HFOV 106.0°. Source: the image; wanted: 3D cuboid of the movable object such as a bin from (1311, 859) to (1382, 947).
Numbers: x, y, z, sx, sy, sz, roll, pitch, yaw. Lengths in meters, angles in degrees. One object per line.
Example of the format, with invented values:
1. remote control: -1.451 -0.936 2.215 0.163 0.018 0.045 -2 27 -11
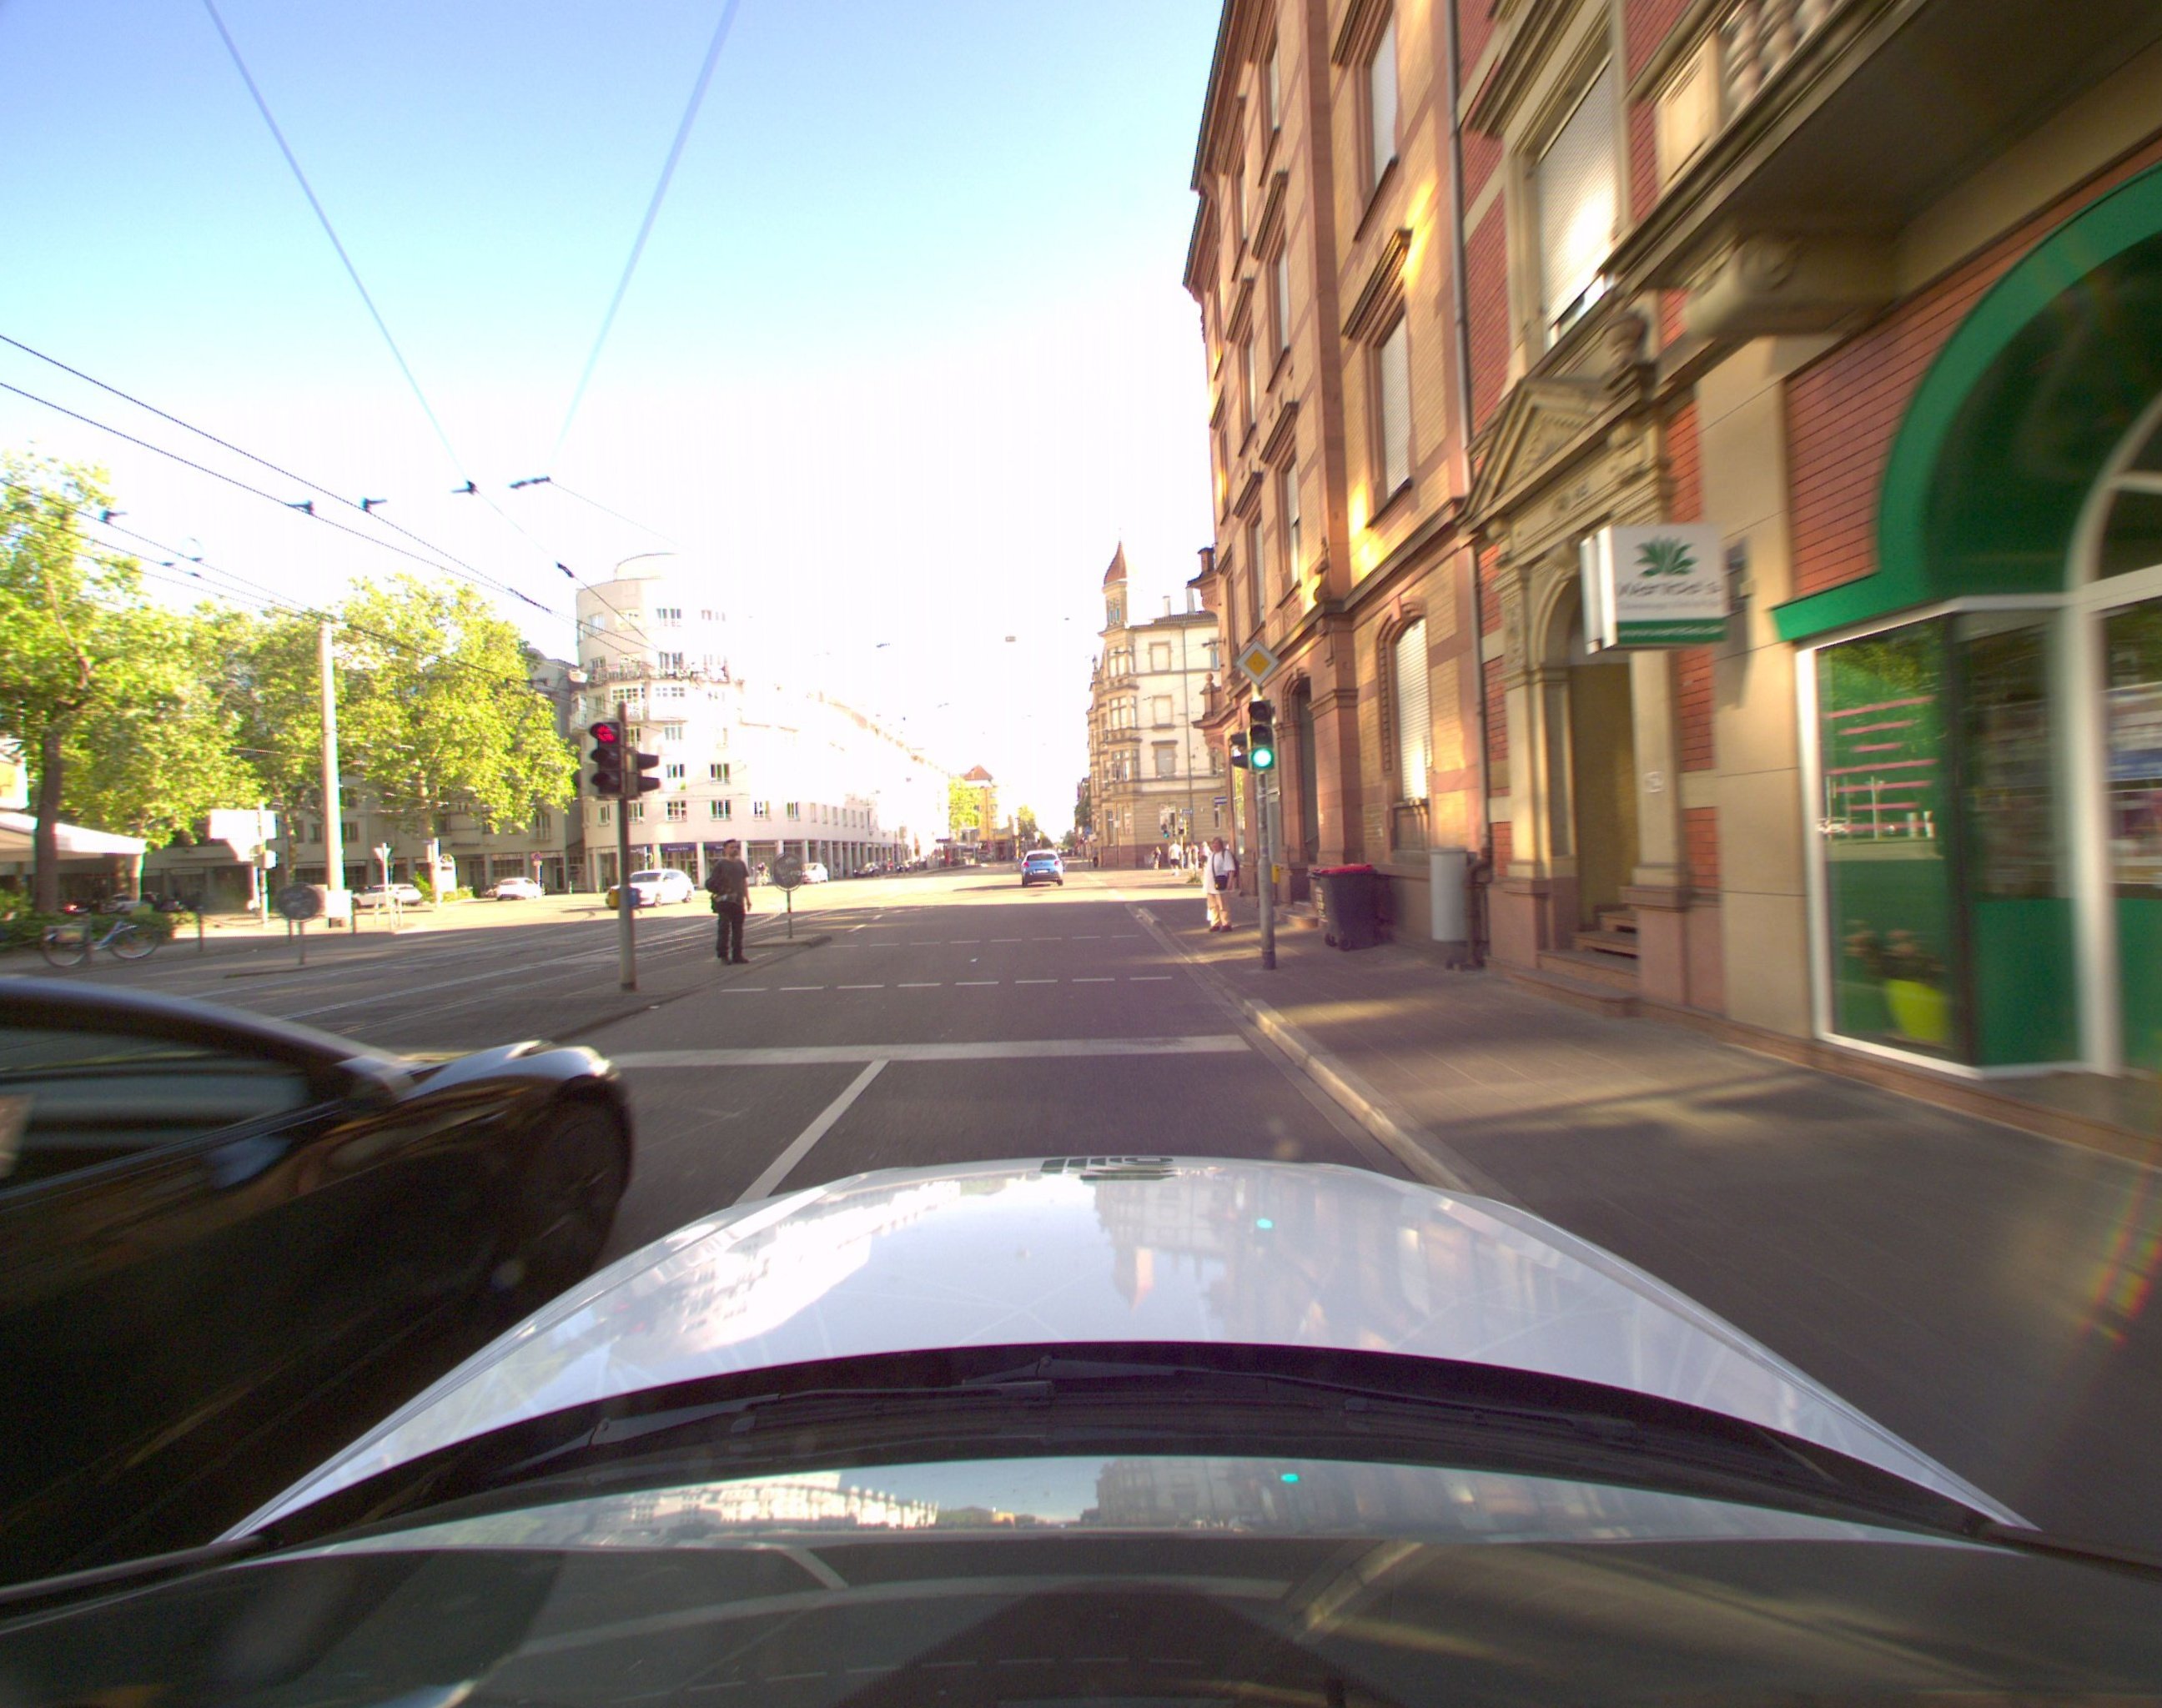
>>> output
1. movable object such as a bin: 3.491 0.629 10.734 0.661 1.072 0.591 -5 0 1

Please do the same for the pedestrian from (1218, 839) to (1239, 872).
1. pedestrian: 7.551 0.080 41.662 0.916 1.632 1.013 -3 -1 14

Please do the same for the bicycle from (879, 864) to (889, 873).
1. bicycle: -21.496 1.573 88.834 0.592 0.972 2.045 -3 -1 -3

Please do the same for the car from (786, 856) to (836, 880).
1. car: -18.583 0.913 56.217 1.989 1.451 4.646 -3 1 -3

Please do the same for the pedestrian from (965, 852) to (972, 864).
1. pedestrian: -14.373 0.510 104.064 0.729 1.559 0.742 -2 1 -2

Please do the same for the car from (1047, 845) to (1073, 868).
1. car: -1.606 0.231 64.902 1.987 1.743 3.998 -1 -1 -1

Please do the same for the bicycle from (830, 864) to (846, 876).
1. bicycle: -20.969 1.354 70.298 0.591 0.972 1.857 -3 -1 5

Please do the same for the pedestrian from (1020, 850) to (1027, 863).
1. pedestrian: -6.715 0.303 95.551 0.579 1.562 0.473 -2 0 35

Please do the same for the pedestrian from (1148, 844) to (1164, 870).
1. pedestrian: 4.796 0.207 52.258 0.917 1.632 0.944 -3 -1 7

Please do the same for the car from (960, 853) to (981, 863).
1. car: -21.861 0.771 161.250 3.980 1.674 1.955 -2 0 -5

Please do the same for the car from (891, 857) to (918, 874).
1. car: -20.571 1.321 95.281 2.221 1.911 4.606 -2 0 -2

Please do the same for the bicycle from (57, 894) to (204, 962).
1. bicycle: -19.926 1.518 17.163 0.496 1.186 2.233 -3 0 -2

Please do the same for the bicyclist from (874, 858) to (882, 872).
1. bicyclist: -21.413 1.153 85.889 0.587 1.488 0.927 -3 -1 -3

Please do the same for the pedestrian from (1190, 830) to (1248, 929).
1. pedestrian: 2.339 0.427 13.877 0.682 1.607 0.727 -3 0 -14

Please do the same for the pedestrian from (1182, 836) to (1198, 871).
1. pedestrian: 5.470 -0.007 40.804 0.638 1.745 0.709 -1 -1 20

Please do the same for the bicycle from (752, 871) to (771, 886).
1. bicycle: -21.958 1.677 56.009 0.592 0.972 1.817 -3 -1 0

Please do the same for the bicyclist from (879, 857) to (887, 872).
1. bicyclist: -21.528 1.124 88.692 0.587 1.585 0.895 -3 -1 -3

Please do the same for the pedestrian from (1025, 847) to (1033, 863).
1. pedestrian: -6.133 0.124 96.011 0.710 1.777 0.569 -2 0 35

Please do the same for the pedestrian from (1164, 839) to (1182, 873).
1. pedestrian: 4.609 0.112 40.881 0.694 1.654 0.635 -3 -1 21

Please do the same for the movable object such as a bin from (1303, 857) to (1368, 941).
1. movable object such as a bin: 3.523 0.607 11.312 0.661 1.072 0.545 -5 0 1

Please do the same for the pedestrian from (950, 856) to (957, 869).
1. pedestrian: -15.373 1.007 98.365 0.729 1.527 0.742 -2 1 -2

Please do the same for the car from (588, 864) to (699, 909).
1. car: -17.043 1.225 32.028 1.989 1.451 4.498 -3 1 -3

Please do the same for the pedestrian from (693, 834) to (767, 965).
1. pedestrian: -5.022 0.623 11.704 0.556 1.763 0.894 -4 0 -1

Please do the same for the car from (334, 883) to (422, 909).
1. car: -44.671 2.664 51.791 3.979 1.402 1.805 -2 2 2

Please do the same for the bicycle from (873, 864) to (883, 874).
1. bicycle: -21.394 1.570 85.868 0.592 0.972 2.010 -3 -1 -3

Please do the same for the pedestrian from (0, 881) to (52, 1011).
1. pedestrian: -13.024 1.108 9.625 0.498 1.517 0.858 -4 0 -1

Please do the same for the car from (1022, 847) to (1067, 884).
1. car: -1.486 0.455 34.285 1.776 1.451 3.653 -1 0 -1

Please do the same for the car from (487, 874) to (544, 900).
1. car: -38.238 2.205 55.159 1.801 1.402 4.082 -2 2 -15

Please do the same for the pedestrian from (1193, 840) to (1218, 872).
1. pedestrian: 6.680 0.101 43.687 0.913 1.632 0.948 -3 -1 31

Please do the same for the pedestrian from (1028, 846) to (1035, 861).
1. pedestrian: -5.500 -0.044 91.024 0.633 1.698 0.935 -1 -1 6

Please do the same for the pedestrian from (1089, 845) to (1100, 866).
1. pedestrian: 1.134 0.160 70.027 0.778 1.749 1.092 -2 2 -4

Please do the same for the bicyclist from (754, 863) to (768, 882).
1. bicyclist: -21.990 1.268 55.947 0.587 1.285 0.926 -3 -1 -1

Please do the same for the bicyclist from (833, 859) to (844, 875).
1. bicyclist: -20.938 1.113 70.335 0.586 1.285 0.993 -3 -1 5

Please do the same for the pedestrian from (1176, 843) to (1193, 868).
1. pedestrian: 6.436 0.073 50.705 0.626 1.537 0.948 -3 -1 31

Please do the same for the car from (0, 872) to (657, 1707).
1. car: -2.674 0.812 1.351 1.805 1.424 4.151 -1 0 -1

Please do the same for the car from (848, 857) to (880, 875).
1. car: -20.508 1.158 77.113 1.989 1.596 3.995 -3 -1 -3
